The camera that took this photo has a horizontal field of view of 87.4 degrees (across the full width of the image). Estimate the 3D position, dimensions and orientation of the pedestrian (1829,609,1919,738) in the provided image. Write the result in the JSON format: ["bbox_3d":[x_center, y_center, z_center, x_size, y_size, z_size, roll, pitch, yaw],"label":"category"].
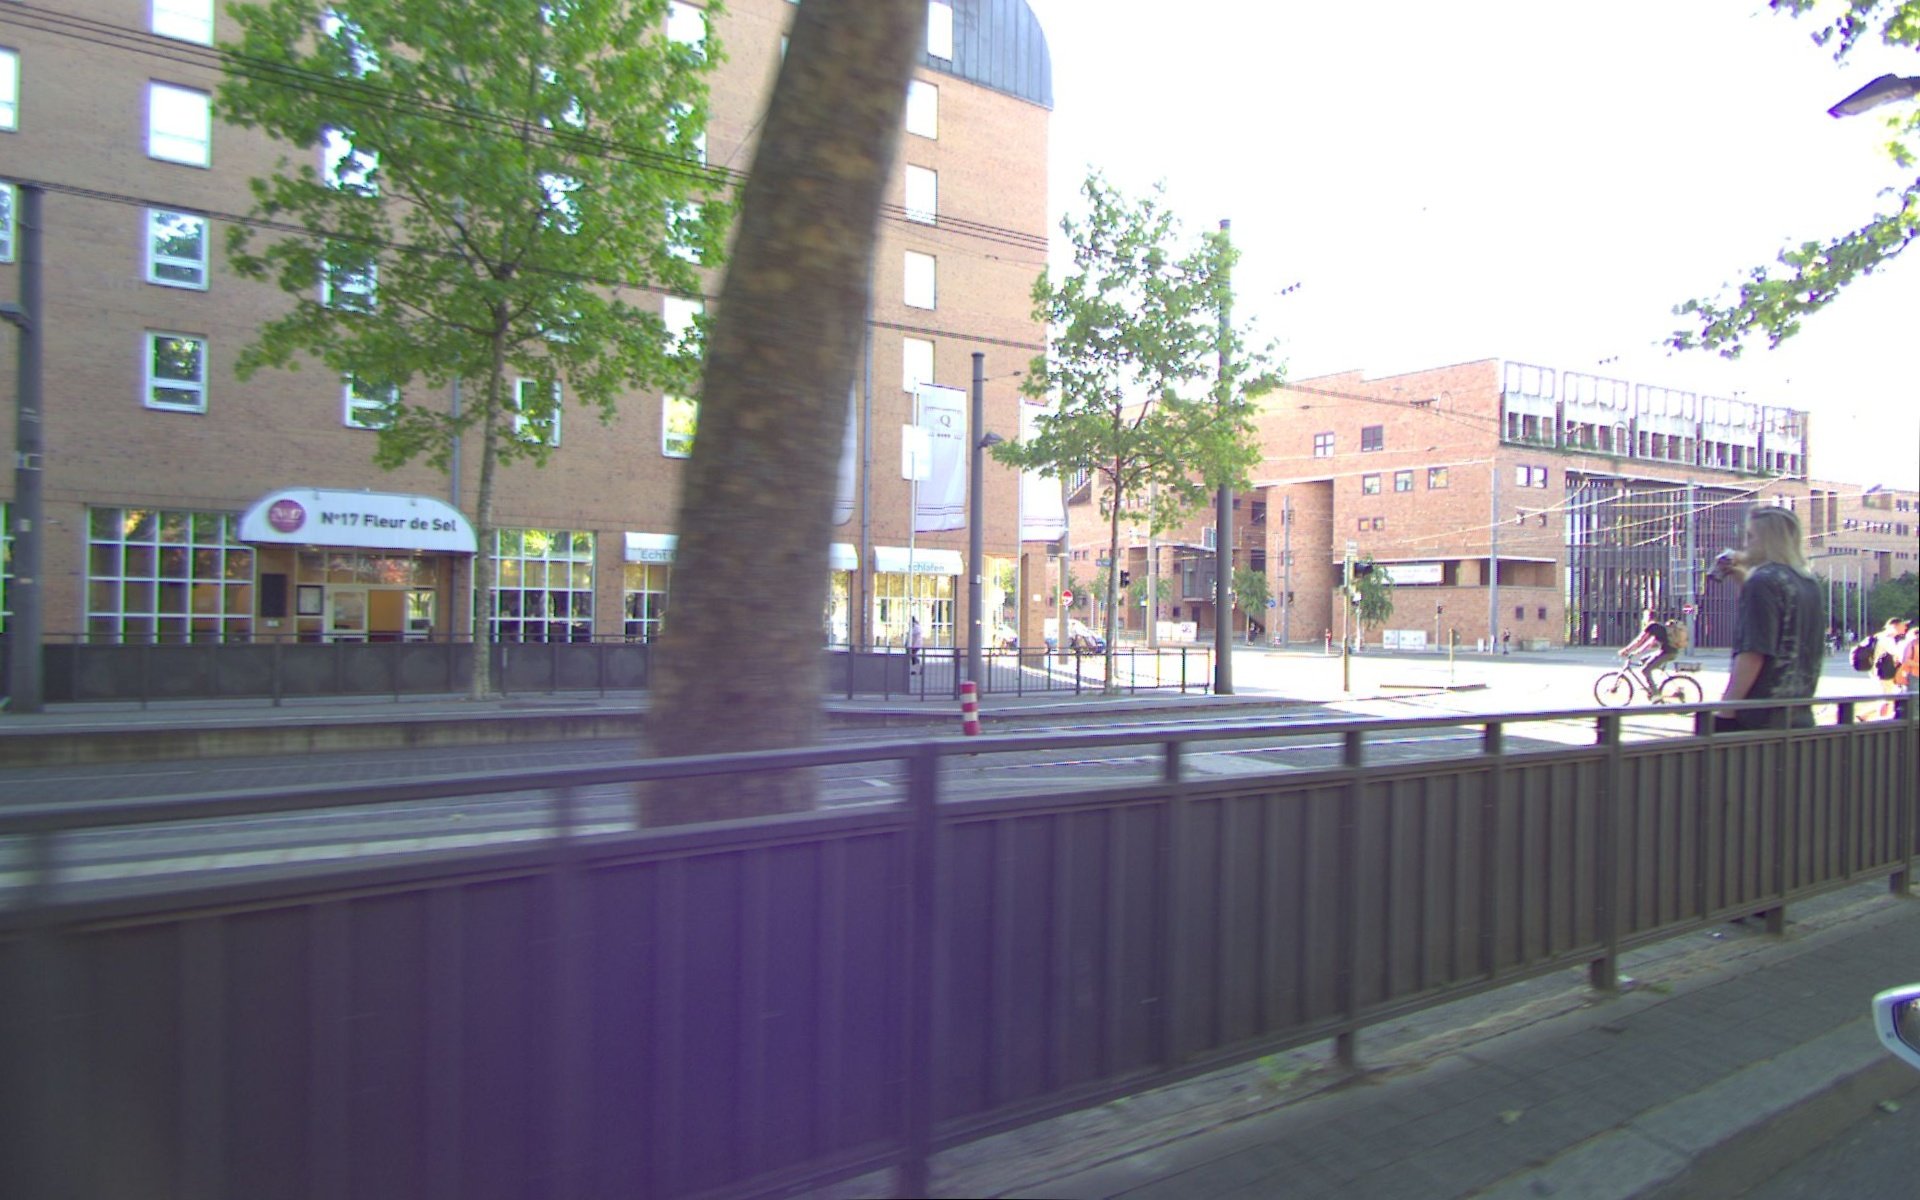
[{"bbox_3d":[14.300,1.110,15.613,0.732,1.896,1.065,2,0,-38],"label":"pedestrian"}]

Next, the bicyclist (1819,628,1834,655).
[{"bbox_3d":[55.990,2.678,64.900,0.782,1.697,0.589,1,-1,-38],"label":"bicyclist"}]

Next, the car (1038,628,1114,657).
[{"bbox_3d":[6.236,2.281,54.355,1.980,1.476,3.929,1,-2,-34],"label":"car"}]

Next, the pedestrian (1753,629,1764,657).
[{"bbox_3d":[49.106,2.629,61.774,0.530,1.672,0.623,-1,-2,40],"label":"pedestrian"}]

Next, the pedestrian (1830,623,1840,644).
[{"bbox_3d":[73.741,2.821,84.650,0.538,1.803,0.521,1,-1,-24],"label":"pedestrian"}]

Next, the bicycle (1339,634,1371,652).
[{"bbox_3d":[27.598,2.993,70.140,2.059,1.255,0.452,-1,-2,30],"label":"bicycle"}]

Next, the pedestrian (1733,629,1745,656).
[{"bbox_3d":[48.112,2.600,62.020,0.530,1.672,0.623,-1,-2,40],"label":"pedestrian"}]

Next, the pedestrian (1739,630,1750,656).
[{"bbox_3d":[49.448,2.706,63.319,0.530,1.672,0.623,-1,-2,40],"label":"pedestrian"}]

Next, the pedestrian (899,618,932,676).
[{"bbox_3d":[-1.276,1.343,28.867,0.717,1.606,0.586,1,1,-33],"label":"pedestrian"}]

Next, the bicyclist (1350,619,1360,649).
[{"bbox_3d":[27.593,2.398,70.155,0.552,2.087,0.450,0,-1,30],"label":"bicyclist"}]

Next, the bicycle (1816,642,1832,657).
[{"bbox_3d":[55.882,3.196,64.951,1.824,0.893,0.508,2,-2,-40],"label":"bicycle"}]

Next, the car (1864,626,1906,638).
[{"bbox_3d":[127.495,4.396,138.439,3.927,1.572,1.605,2,0,28],"label":"car"}]

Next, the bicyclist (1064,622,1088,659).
[{"bbox_3d":[5.376,1.863,46.443,0.683,1.703,0.899,1,-1,-33],"label":"bicyclist"}]

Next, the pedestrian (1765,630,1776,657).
[{"bbox_3d":[49.571,2.653,61.421,0.530,1.672,0.623,-1,-2,40],"label":"pedestrian"}]

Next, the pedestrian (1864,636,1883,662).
[{"bbox_3d":[54.405,2.910,59.836,0.503,1.550,0.749,1,0,-38],"label":"pedestrian"}]

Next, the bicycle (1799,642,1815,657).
[{"bbox_3d":[55.213,3.222,65.488,1.824,0.893,0.508,2,-2,-40],"label":"bicycle"}]

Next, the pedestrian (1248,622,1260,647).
[{"bbox_3d":[19.609,2.270,67.007,0.608,1.635,0.539,-1,2,-36],"label":"pedestrian"}]

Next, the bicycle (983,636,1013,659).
[{"bbox_3d":[1.907,2.374,50.290,0.621,1.078,1.915,1,-1,-28],"label":"bicycle"}]

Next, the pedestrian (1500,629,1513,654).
[{"bbox_3d":[35.432,2.696,65.102,0.560,1.635,0.545,1,-1,0],"label":"pedestrian"}]

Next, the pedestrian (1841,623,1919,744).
[{"bbox_3d":[13.851,1.212,14.884,0.751,1.704,1.064,2,0,-38],"label":"pedestrian"}]

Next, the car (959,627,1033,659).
[{"bbox_3d":[1.920,2.318,54.975,1.806,1.604,4.454,1,-1,-34],"label":"car"}]

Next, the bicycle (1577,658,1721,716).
[{"bbox_3d":[12.953,1.610,18.965,0.661,0.946,2.164,1,-1,-33],"label":"bicycle"}]

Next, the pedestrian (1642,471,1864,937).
[{"bbox_3d":[3.595,0.437,4.559,0.751,1.925,0.507,2,0,-31],"label":"pedestrian"}]

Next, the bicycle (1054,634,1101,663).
[{"bbox_3d":[5.398,2.217,46.417,1.061,1.243,2.145,0,0,-33],"label":"bicycle"}]

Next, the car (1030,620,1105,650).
[{"bbox_3d":[6.356,2.069,59.623,1.982,1.719,4.313,2,-2,-38],"label":"car"}]

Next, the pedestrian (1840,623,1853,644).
[{"bbox_3d":[75.172,2.847,85.173,0.538,1.834,0.639,1,-1,-24],"label":"pedestrian"}]

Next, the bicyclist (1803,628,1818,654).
[{"bbox_3d":[55.390,2.658,65.418,0.782,1.697,0.589,1,-1,-38],"label":"bicyclist"}]

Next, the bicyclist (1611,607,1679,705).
[{"bbox_3d":[12.944,1.044,18.999,0.745,1.808,0.844,1,-1,-33],"label":"bicyclist"}]

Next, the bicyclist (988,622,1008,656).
[{"bbox_3d":[1.909,1.946,50.290,0.631,1.686,0.900,1,-1,-29],"label":"bicyclist"}]
